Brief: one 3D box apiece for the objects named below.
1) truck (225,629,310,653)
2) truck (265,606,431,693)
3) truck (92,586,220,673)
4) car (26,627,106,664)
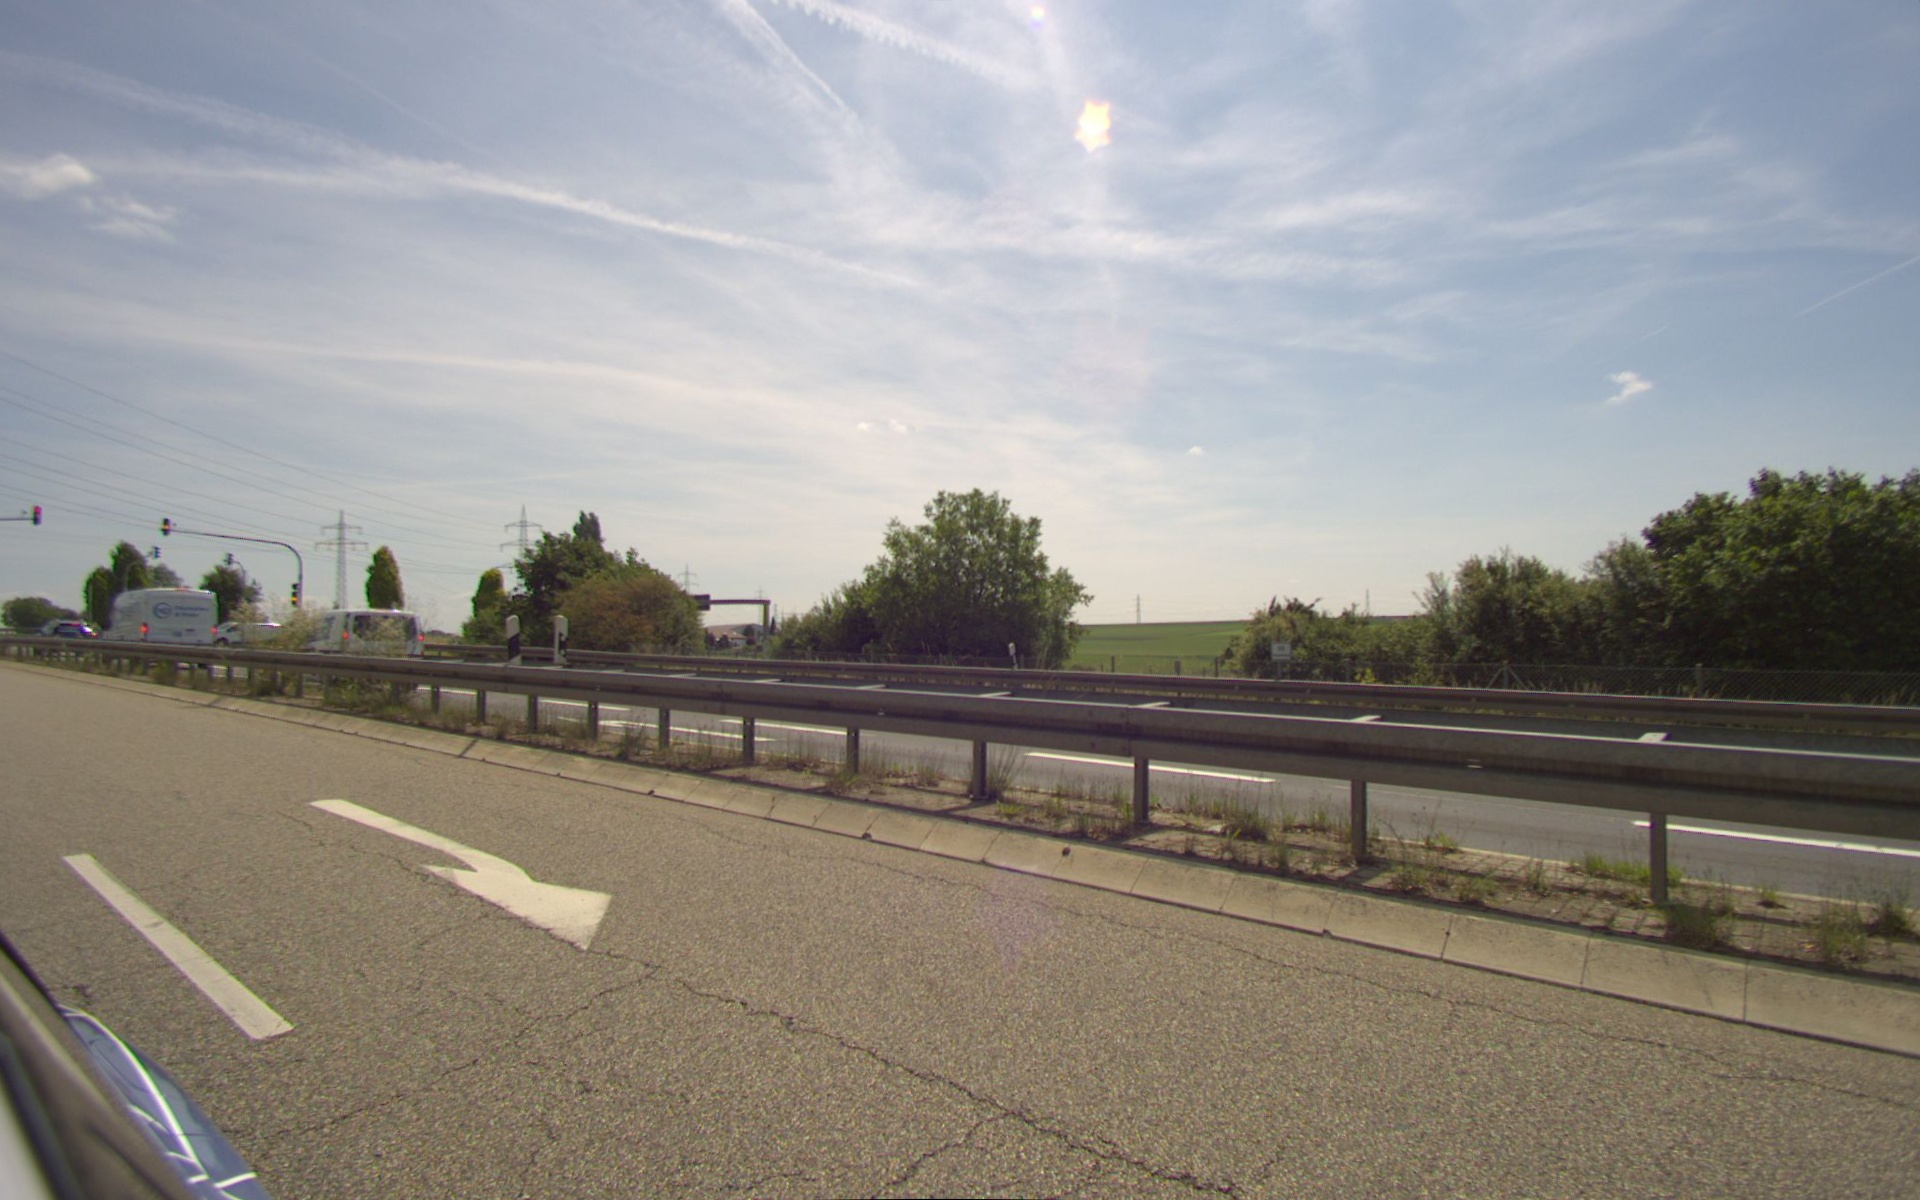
[{"bbox_3d":[-55.055,3.277,80.548,1.992,1.770,5.230,0,-3,29],"label":"truck"},{"bbox_3d":[-13.677,1.053,22.513,4.536,1.762,1.829,0,-3,42],"label":"truck"},{"bbox_3d":[-26.400,0.999,33.151,6.015,2.641,2.020,-1,-4,40],"label":"truck"},{"bbox_3d":[-37.720,1.911,42.664,4.190,1.480,1.738,-1,-4,38],"label":"car"}]
